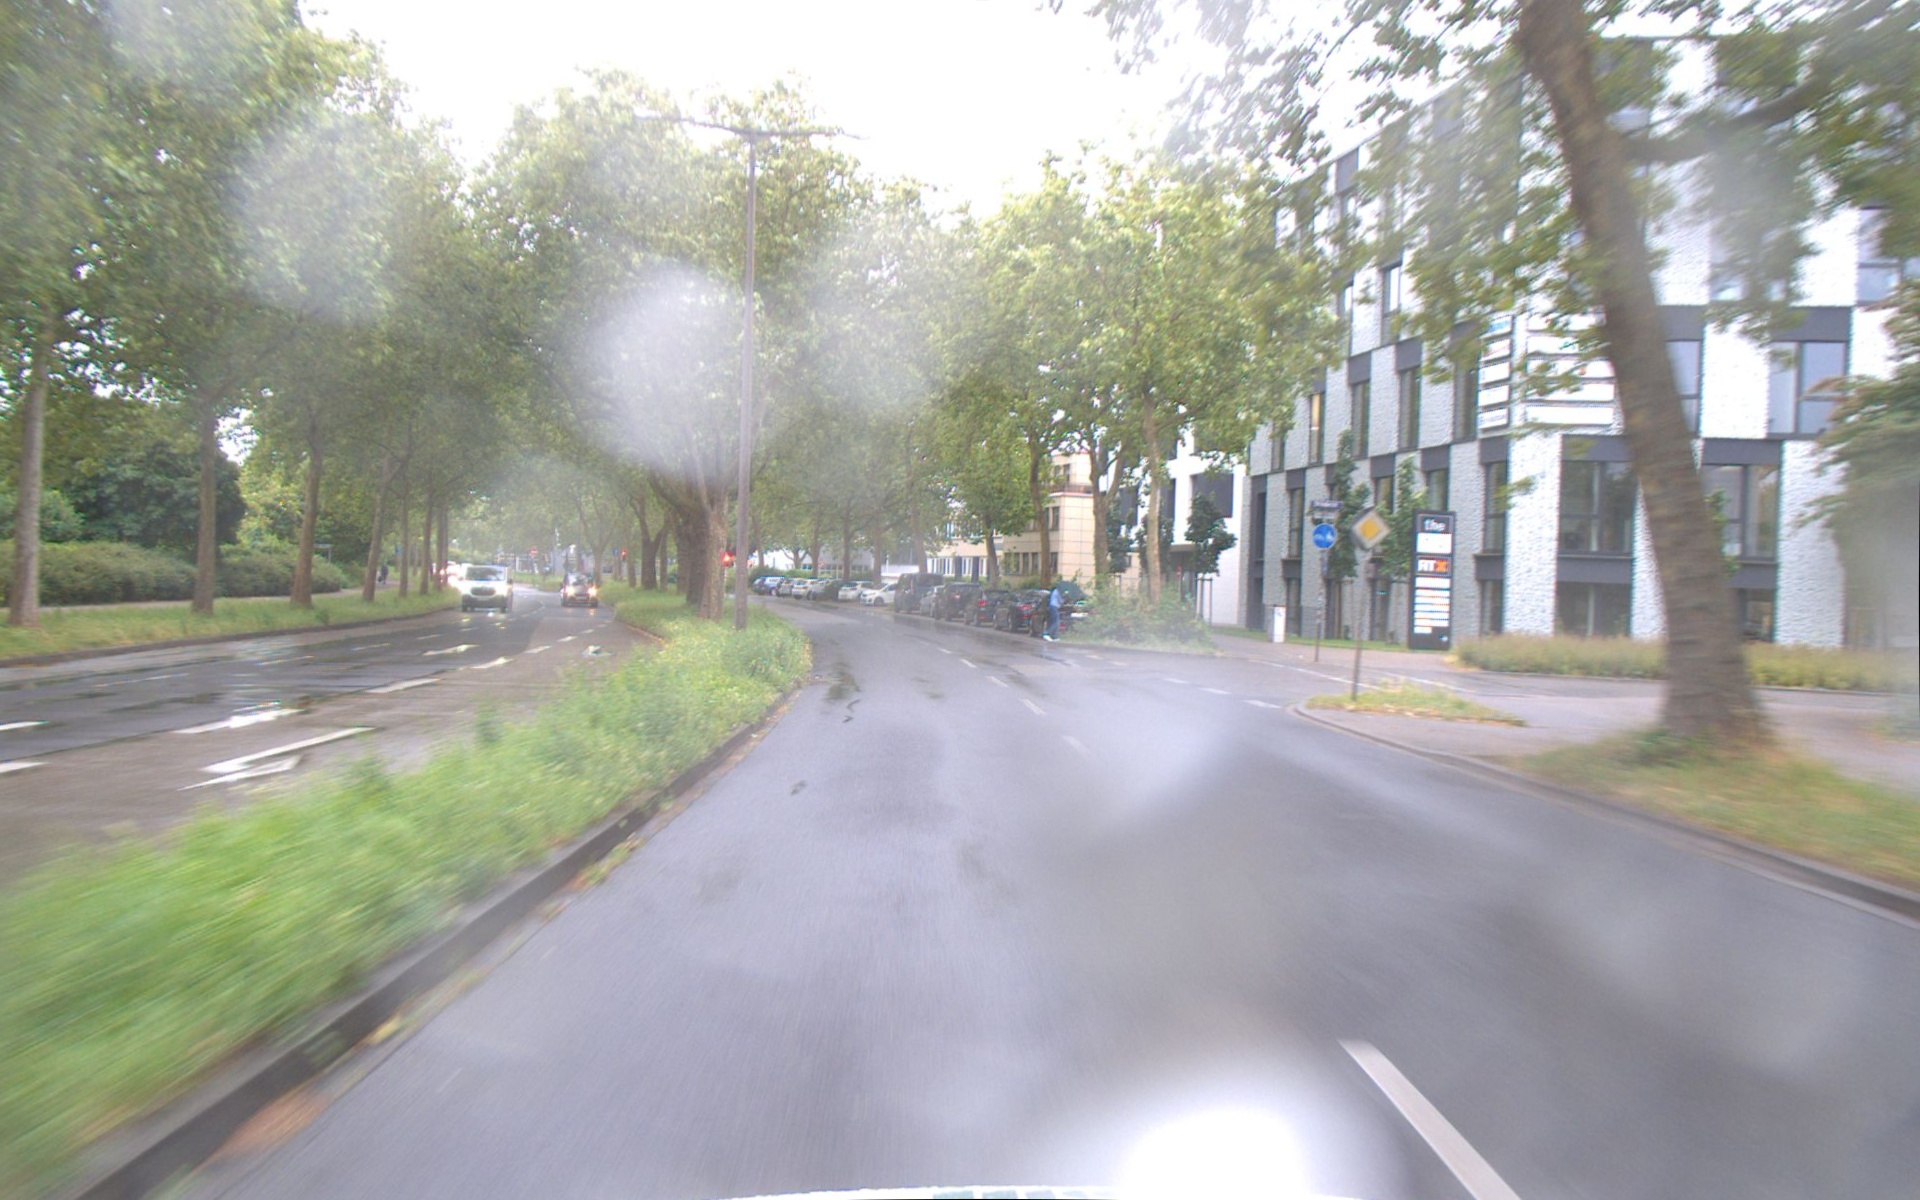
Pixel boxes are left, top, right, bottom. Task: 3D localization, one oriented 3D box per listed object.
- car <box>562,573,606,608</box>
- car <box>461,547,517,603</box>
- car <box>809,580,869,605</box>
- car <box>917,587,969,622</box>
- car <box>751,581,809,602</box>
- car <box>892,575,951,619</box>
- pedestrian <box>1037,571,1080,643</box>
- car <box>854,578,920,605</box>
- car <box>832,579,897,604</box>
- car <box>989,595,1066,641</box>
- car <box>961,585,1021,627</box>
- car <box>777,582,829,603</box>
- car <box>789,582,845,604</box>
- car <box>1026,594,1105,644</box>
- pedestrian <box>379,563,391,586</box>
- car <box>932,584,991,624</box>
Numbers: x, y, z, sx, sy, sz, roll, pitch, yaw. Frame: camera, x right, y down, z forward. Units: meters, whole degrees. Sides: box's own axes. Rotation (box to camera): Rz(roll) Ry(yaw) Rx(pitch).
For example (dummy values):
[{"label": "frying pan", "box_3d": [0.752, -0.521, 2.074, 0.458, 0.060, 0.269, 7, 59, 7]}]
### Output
[{"label": "car", "box_3d": [-19.815, -0.522, 87.018, 1.997, 1.766, 4.933, 2, 0, -16]}, {"label": "car", "box_3d": [-20.432, -1.080, 71.930, 1.995, 2.265, 5.416, 2, 0, -13]}, {"label": "car", "box_3d": [-8.298, -0.513, 113.573, 1.718, 1.566, 4.013, 2, 0, 42]}, {"label": "car", "box_3d": [-0.831, 0.190, 77.451, 1.712, 1.495, 4.295, 2, 0, -11]}, {"label": "car", "box_3d": [-14.395, -0.680, 132.356, 4.459, 1.484, 1.722, 2, 0, -43]}, {"label": "car", "box_3d": [-1.970, -0.173, 82.657, 2.083, 2.063, 5.513, 2, 0, -11]}, {"label": "pedestrian", "box_3d": [2.884, 0.207, 48.378, 0.893, 2.049, 0.820, 2, 0, -45]}, {"label": "car", "box_3d": [-4.432, -0.533, 100.394, 3.597, 1.530, 1.732, 1, 2, -30]}, {"label": "car", "box_3d": [-6.033, -0.507, 104.540, 1.719, 1.453, 4.011, 2, 0, 44]}, {"label": "car", "box_3d": [2.298, 0.597, 57.784, 1.711, 1.453, 5.093, 2, 0, -9]}, {"label": "car", "box_3d": [1.160, 0.216, 63.753, 1.710, 1.502, 4.076, 2, 0, -8]}, {"label": "car", "box_3d": [-11.734, -0.546, 123.719, 1.745, 1.441, 3.668, 2, 0, 43]}, {"label": "car", "box_3d": [-10.222, -0.503, 118.404, 3.662, 1.441, 1.722, 2, 0, -43]}, {"label": "car", "box_3d": [3.204, 0.548, 51.302, 1.709, 1.453, 4.854, 0, 0, -5]}, {"label": "pedestrian", "box_3d": [-44.024, -1.976, 126.563, 0.819, 1.703, 0.894, 2, 0, -22]}, {"label": "car", "box_3d": [0.048, 0.134, 70.693, 1.712, 1.594, 4.360, 2, 0, -11]}]
